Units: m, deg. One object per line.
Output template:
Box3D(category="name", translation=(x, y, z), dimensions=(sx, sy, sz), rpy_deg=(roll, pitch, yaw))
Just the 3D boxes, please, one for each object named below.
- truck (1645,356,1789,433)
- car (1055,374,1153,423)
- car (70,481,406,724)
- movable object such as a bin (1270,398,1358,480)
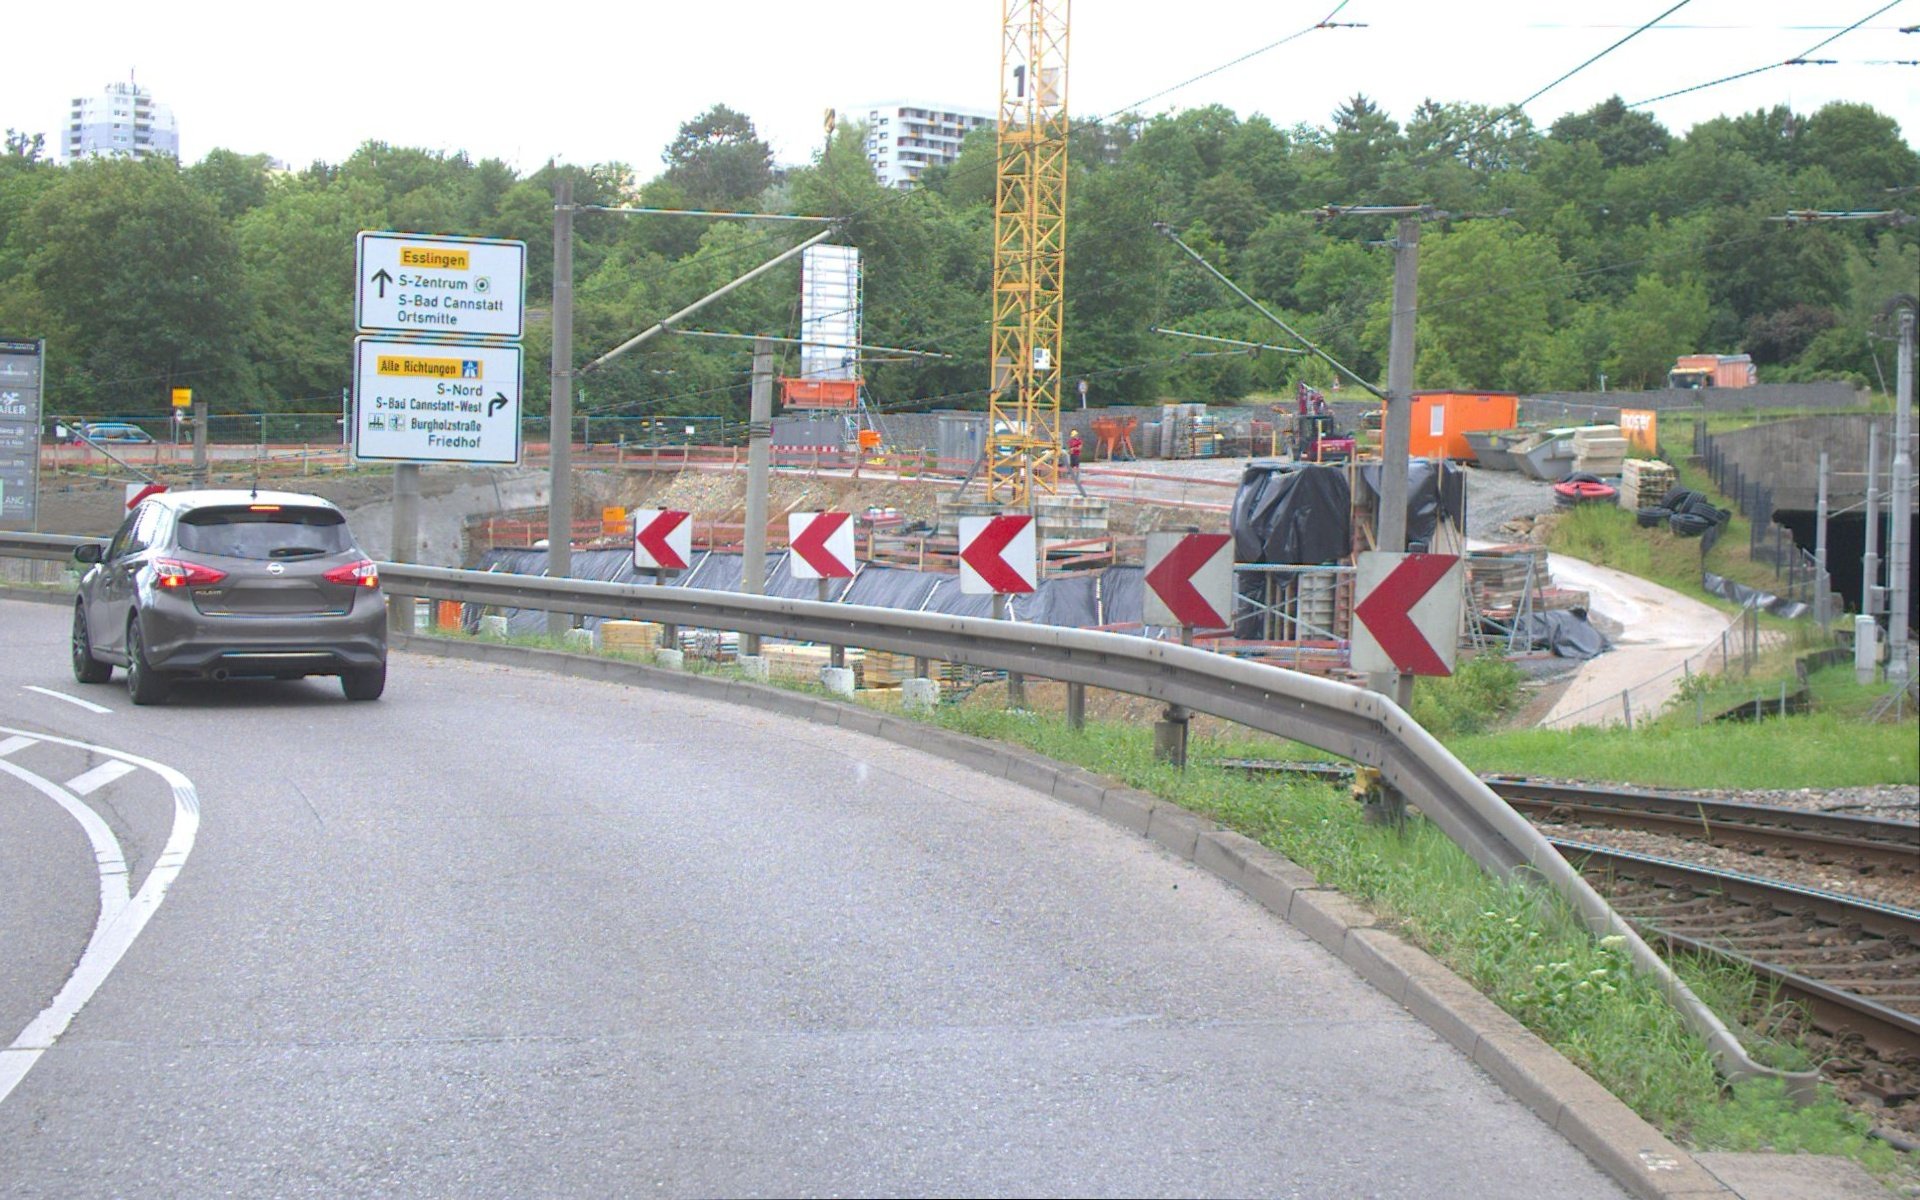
Box3D(category="truck", translation=(44.003, -11.925, 199.702), dimensions=(9.766, 4.206, 3.119), rpy_deg=(-1, 4, -43))
Box3D(category="car", translation=(6.426, -8.959, 153.127), dimensions=(3.988, 2.007, 2.000), rpy_deg=(-1, 2, -37))
Box3D(category="car", translation=(-5.471, -0.054, 25.679), dimensions=(1.797, 1.546, 4.002), rpy_deg=(0, 4, -22))
Box3D(category="movable object such as a bin", translation=(13.468, -6.097, 130.794), dimensions=(1.835, 3.066, 2.800), rpy_deg=(-1, 2, -40))
